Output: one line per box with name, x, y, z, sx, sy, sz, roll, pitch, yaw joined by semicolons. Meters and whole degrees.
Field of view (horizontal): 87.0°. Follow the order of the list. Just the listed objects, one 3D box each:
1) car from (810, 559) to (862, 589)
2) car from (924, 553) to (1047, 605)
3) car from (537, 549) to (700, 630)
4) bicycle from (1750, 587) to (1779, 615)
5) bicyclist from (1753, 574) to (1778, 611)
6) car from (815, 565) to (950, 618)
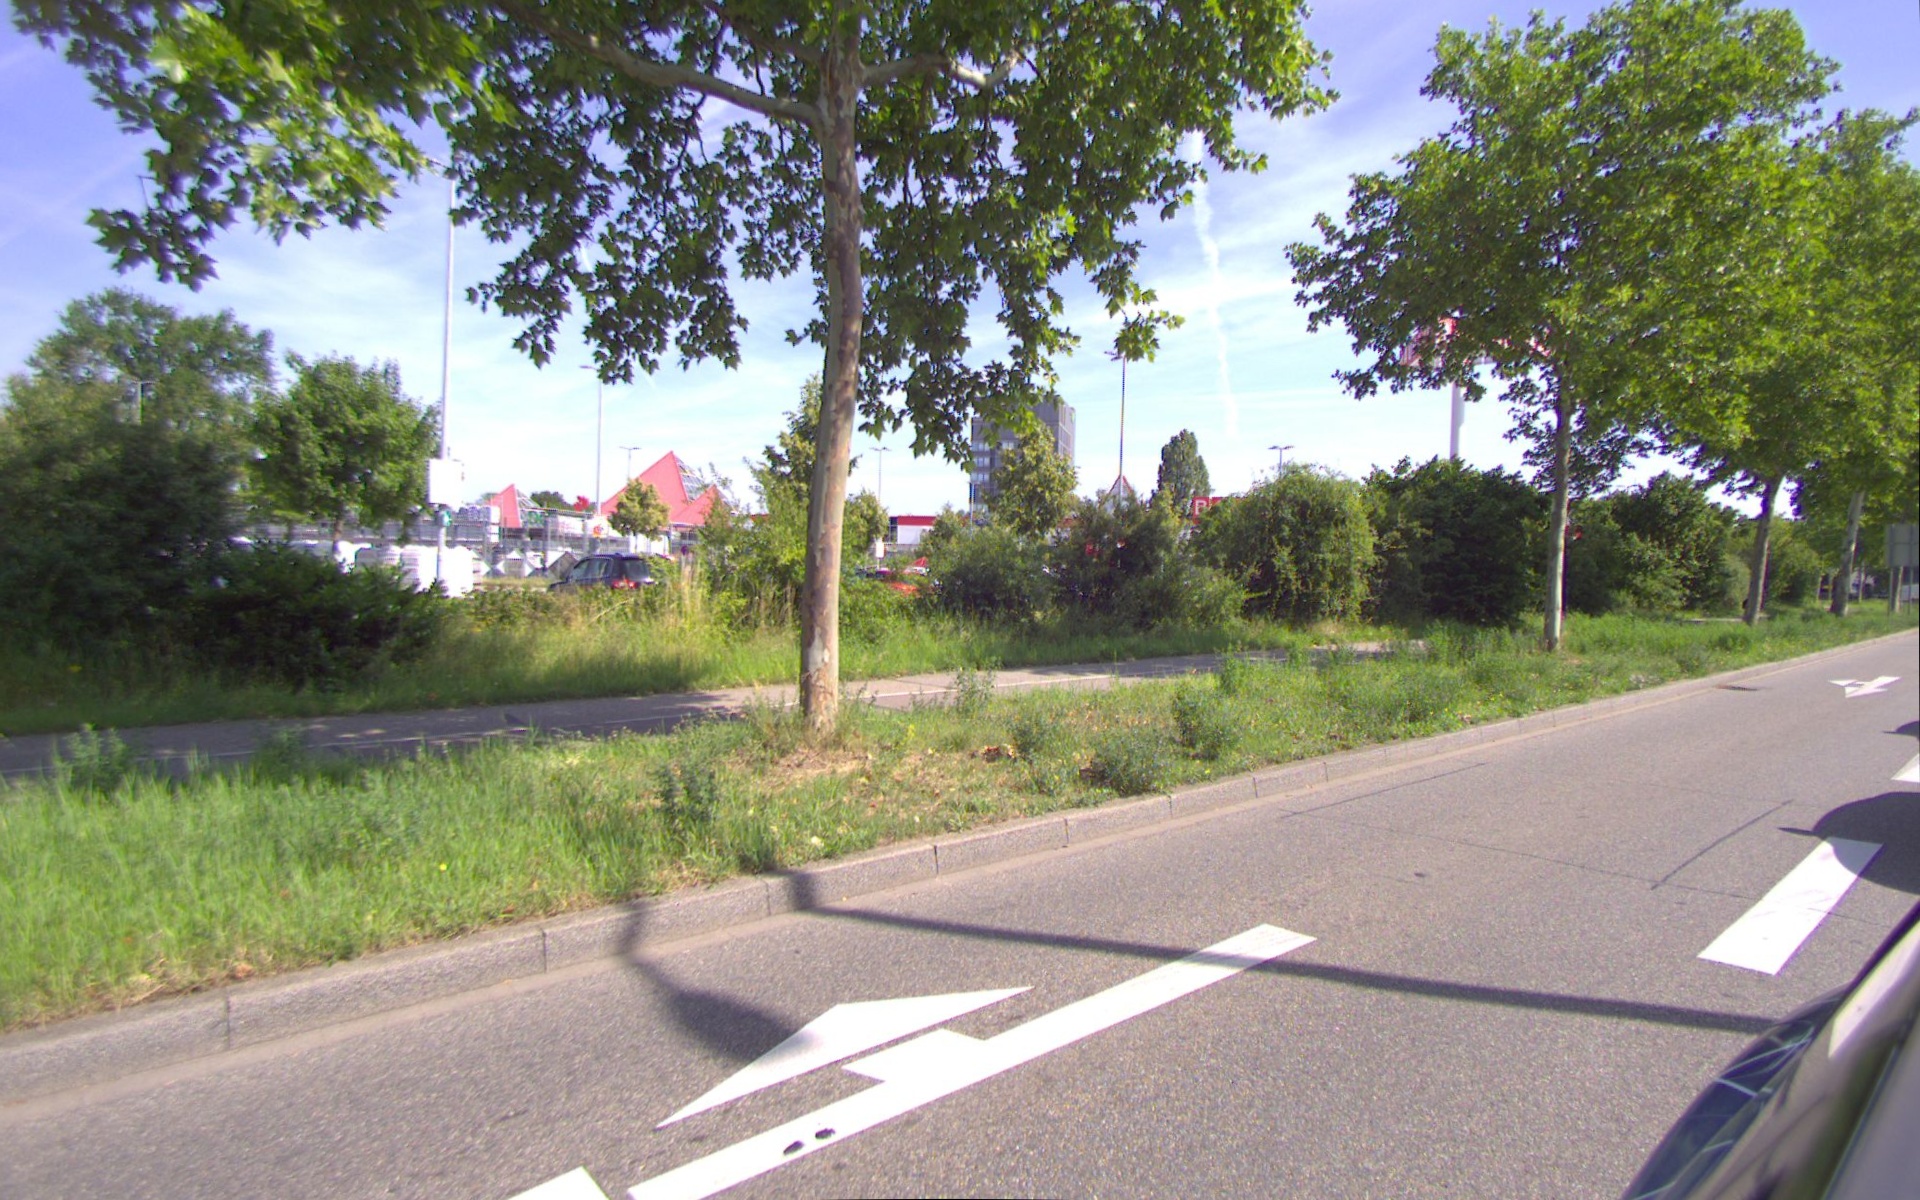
car;-6.923;-1.465;56.858;1.665;1.593;3.985;1;2;13
car;0.876;-0.707;33.494;3.801;1.604;1.844;1;2;11
car;-7.573;-0.289;22.265;3.850;1.604;1.821;3;3;43
bicycle;36.922;0.023;46.435;1.900;1.252;0.686;-1;2;-41
bicyclist;36.959;-0.362;46.451;0.984;1.651;0.686;0;2;-41
car;-2.165;-0.280;27.726;3.553;1.315;1.740;3;3;43
